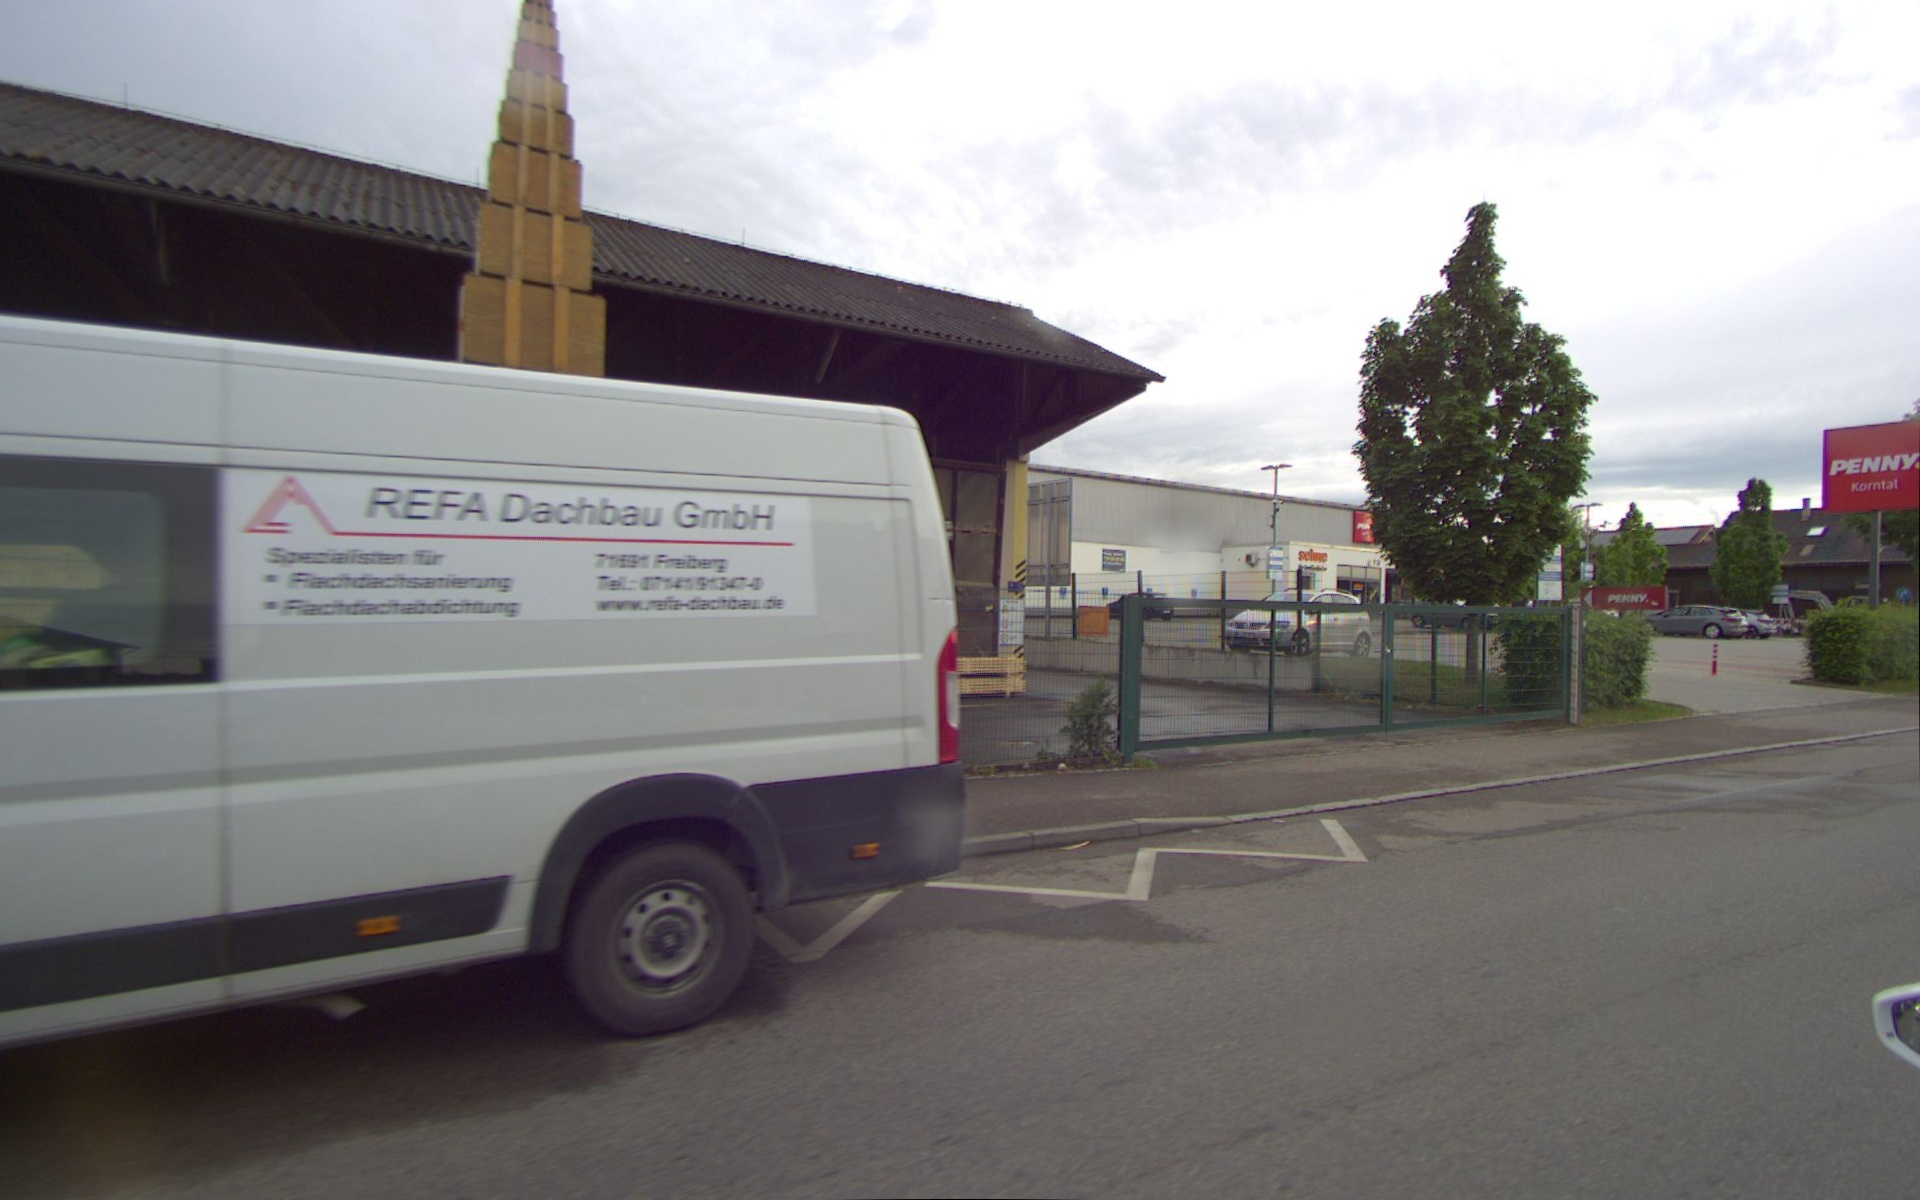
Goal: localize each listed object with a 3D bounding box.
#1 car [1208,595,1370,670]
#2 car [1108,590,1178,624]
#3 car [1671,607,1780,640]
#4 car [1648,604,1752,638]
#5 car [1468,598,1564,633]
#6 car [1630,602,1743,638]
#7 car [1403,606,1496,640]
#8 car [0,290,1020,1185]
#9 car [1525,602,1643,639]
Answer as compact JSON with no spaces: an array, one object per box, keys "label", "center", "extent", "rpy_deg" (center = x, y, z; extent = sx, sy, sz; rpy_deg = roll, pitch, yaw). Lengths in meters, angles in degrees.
[{"label":"car","center":[7.650,0.737,23.202],"extent":[4.010,1.608,1.632],"rpy_deg":[2,-1,-38]},{"label":"car","center":[9.605,0.355,52.937],"extent":[1.640,1.628,3.708],"rpy_deg":[2,0,-30]},{"label":"car","center":[39.347,1.210,51.709],"extent":[1.894,1.497,4.037],"rpy_deg":[2,0,-28]},{"label":"car","center":[37.185,1.024,50.534],"extent":[1.678,1.540,3.864],"rpy_deg":[2,0,-35]},{"label":"car","center":[28.816,0.789,52.113],"extent":[1.756,1.628,3.956],"rpy_deg":[2,1,-38]},{"label":"car","center":[35.217,0.945,48.789],"extent":[1.867,1.572,4.027],"rpy_deg":[2,0,-35]},{"label":"car","center":[23.766,1.101,48.848],"extent":[1.441,1.516,3.860],"rpy_deg":[0,1,-37]},{"label":"car","center":[-3.006,0.420,3.806],"extent":[6.386,2.458,2.148],"rpy_deg":[1,-3,-31]},{"label":"car","center":[27.031,0.878,43.584],"extent":[1.786,1.406,3.950],"rpy_deg":[2,0,-35]}]
